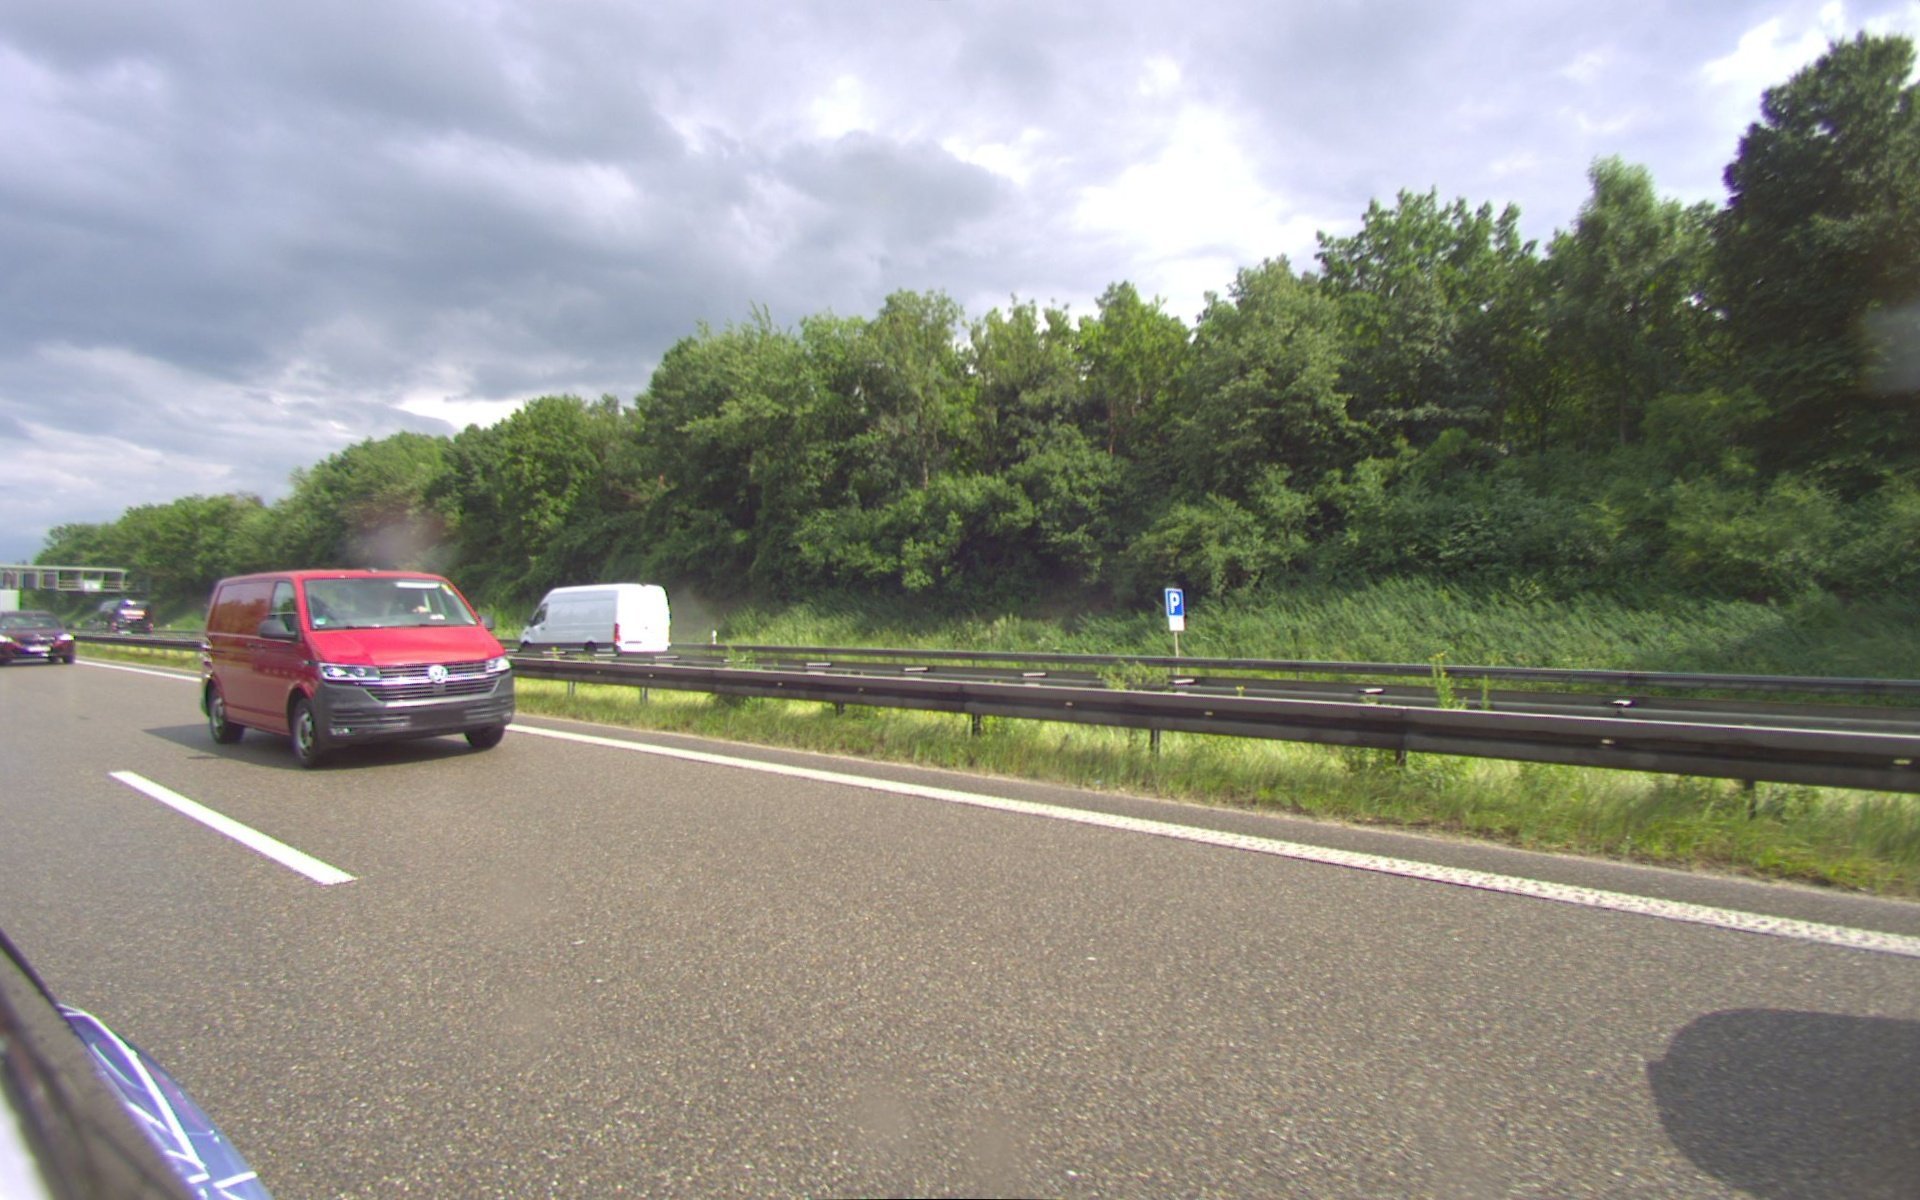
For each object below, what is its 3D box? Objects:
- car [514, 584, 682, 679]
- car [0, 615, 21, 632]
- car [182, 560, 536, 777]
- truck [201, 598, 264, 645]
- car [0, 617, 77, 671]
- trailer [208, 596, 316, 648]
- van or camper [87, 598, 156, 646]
[{"bbox_3d":[-12.168,0.979,33.690,6.785,2.892,2.239,-1,0,41],"label":"car"},{"bbox_3d":[-113.764,2.803,120.765,5.037,1.961,1.850,-1,0,40],"label":"car"},{"bbox_3d":[-6.736,0.610,11.090,4.836,1.880,1.902,-1,0,41],"label":"car"},{"bbox_3d":[-63.803,1.863,88.755,6.860,3.860,2.959,-1,0,41],"label":"truck"},{"bbox_3d":[-29.156,1.316,31.430,4.836,1.508,1.983,-1,0,41],"label":"car"},{"bbox_3d":[-57.757,1.768,83.379,17.942,3.860,2.959,-1,0,41],"label":"trailer"},{"bbox_3d":[-52.484,1.348,63.295,6.835,2.892,2.239,-1,0,41],"label":"van or camper"}]
